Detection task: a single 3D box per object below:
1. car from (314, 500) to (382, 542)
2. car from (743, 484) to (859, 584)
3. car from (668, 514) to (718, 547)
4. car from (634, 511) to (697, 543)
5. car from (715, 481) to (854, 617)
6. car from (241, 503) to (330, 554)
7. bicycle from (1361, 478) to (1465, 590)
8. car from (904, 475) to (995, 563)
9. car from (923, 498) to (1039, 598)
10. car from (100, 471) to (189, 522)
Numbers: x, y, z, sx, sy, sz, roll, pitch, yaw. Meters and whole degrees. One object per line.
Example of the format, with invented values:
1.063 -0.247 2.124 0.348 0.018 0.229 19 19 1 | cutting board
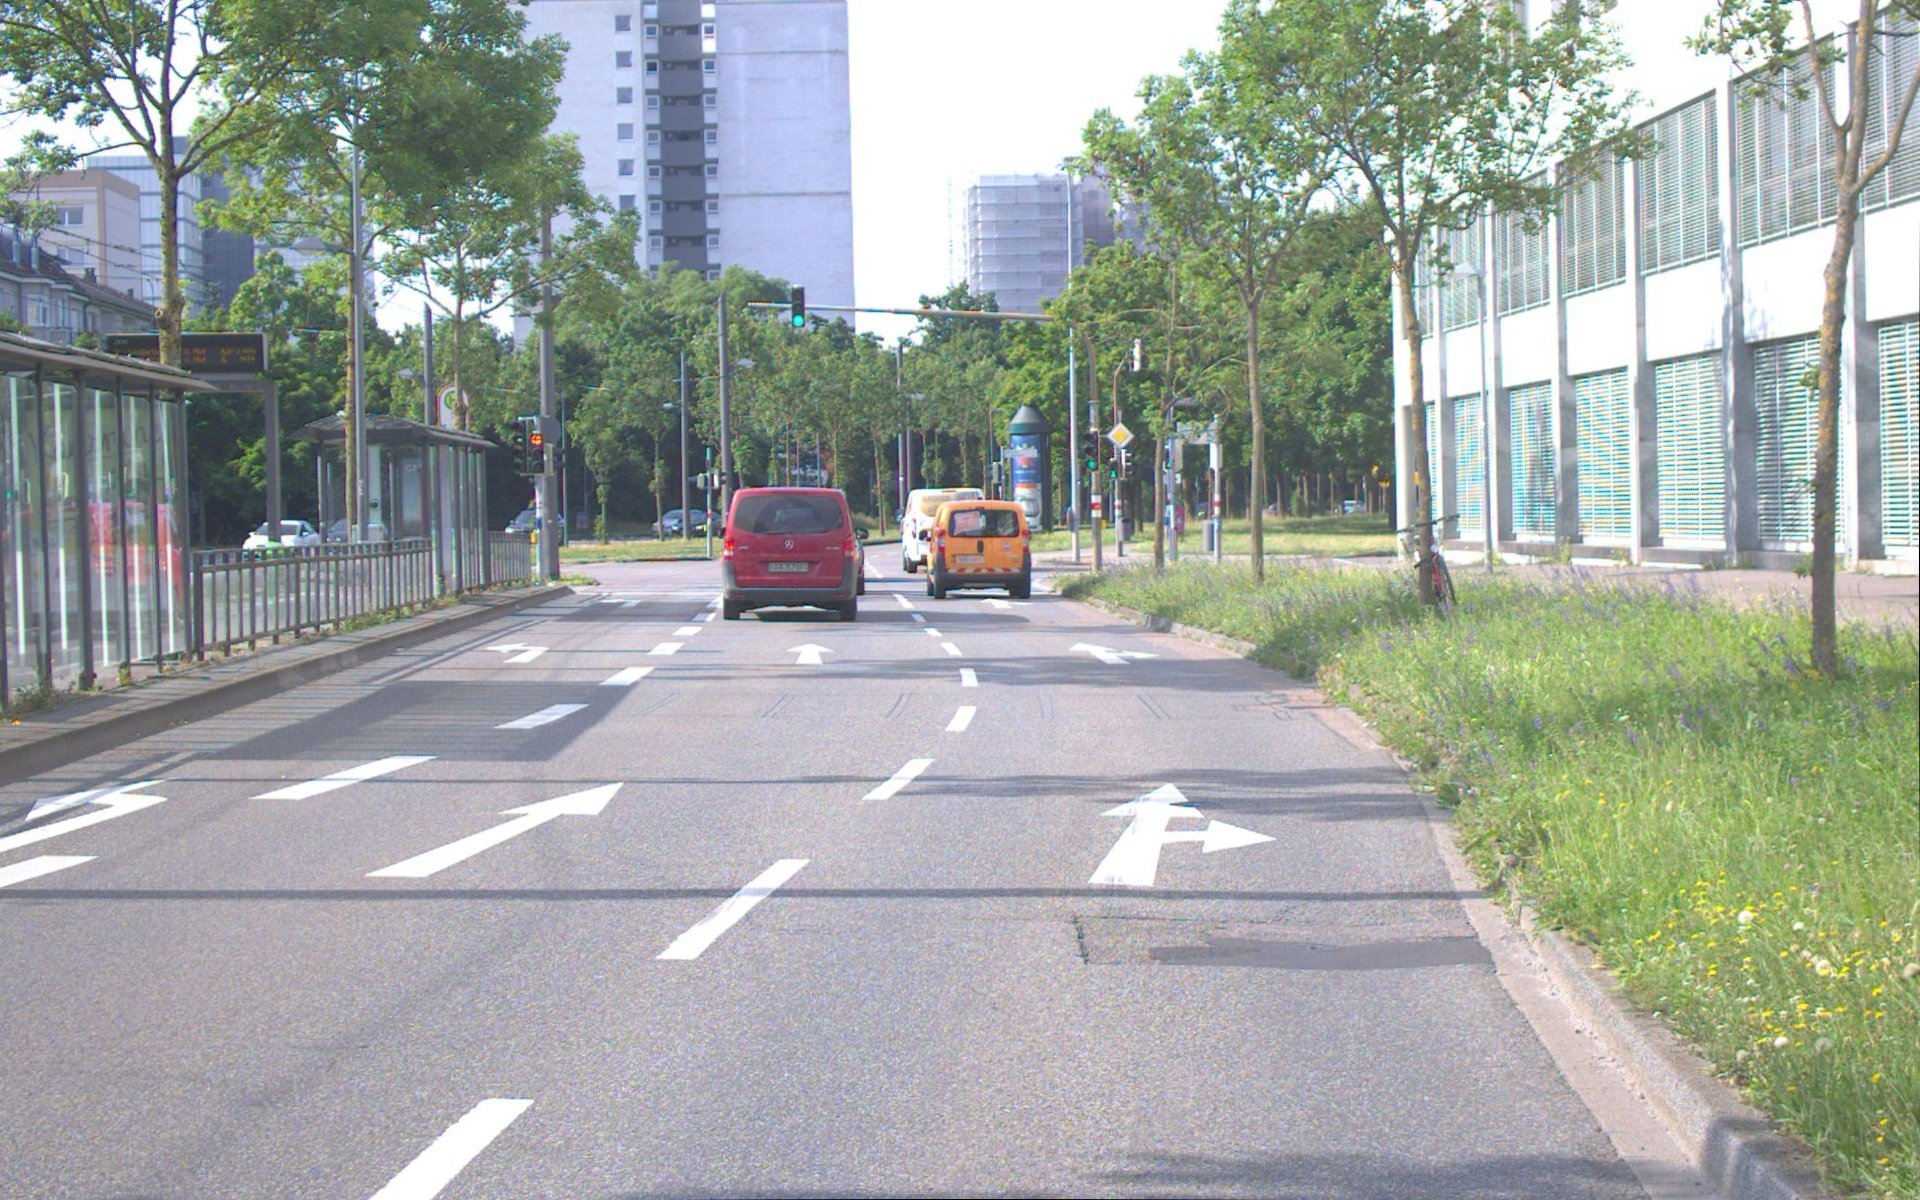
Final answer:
-23.811 -3.084 133.825 1.875 1.568 4.000 -1 2 1 | car
-2.914 -1.224 63.064 1.993 1.700 4.001 -2 2 -2 | car
-13.288 -3.472 171.252 1.875 1.568 3.999 1 1 5 | car
-15.211 -3.784 177.611 1.876 1.568 4.219 -1 2 15 | car
-2.527 -0.752 49.145 1.874 1.847 4.001 -1 2 -3 | car
-21.918 -2.332 111.895 1.993 1.590 4.050 1 1 1 | car
4.233 -0.625 32.207 0.617 1.013 1.880 -1 2 -3 | bicycle
-0.278 -1.919 81.406 1.993 2.007 4.001 1 1 -2 | car
0.340 -0.941 60.489 1.875 1.690 3.974 -1 2 -2 | car
-26.280 -3.320 110.897 1.993 1.590 4.001 1 1 -2 | car
